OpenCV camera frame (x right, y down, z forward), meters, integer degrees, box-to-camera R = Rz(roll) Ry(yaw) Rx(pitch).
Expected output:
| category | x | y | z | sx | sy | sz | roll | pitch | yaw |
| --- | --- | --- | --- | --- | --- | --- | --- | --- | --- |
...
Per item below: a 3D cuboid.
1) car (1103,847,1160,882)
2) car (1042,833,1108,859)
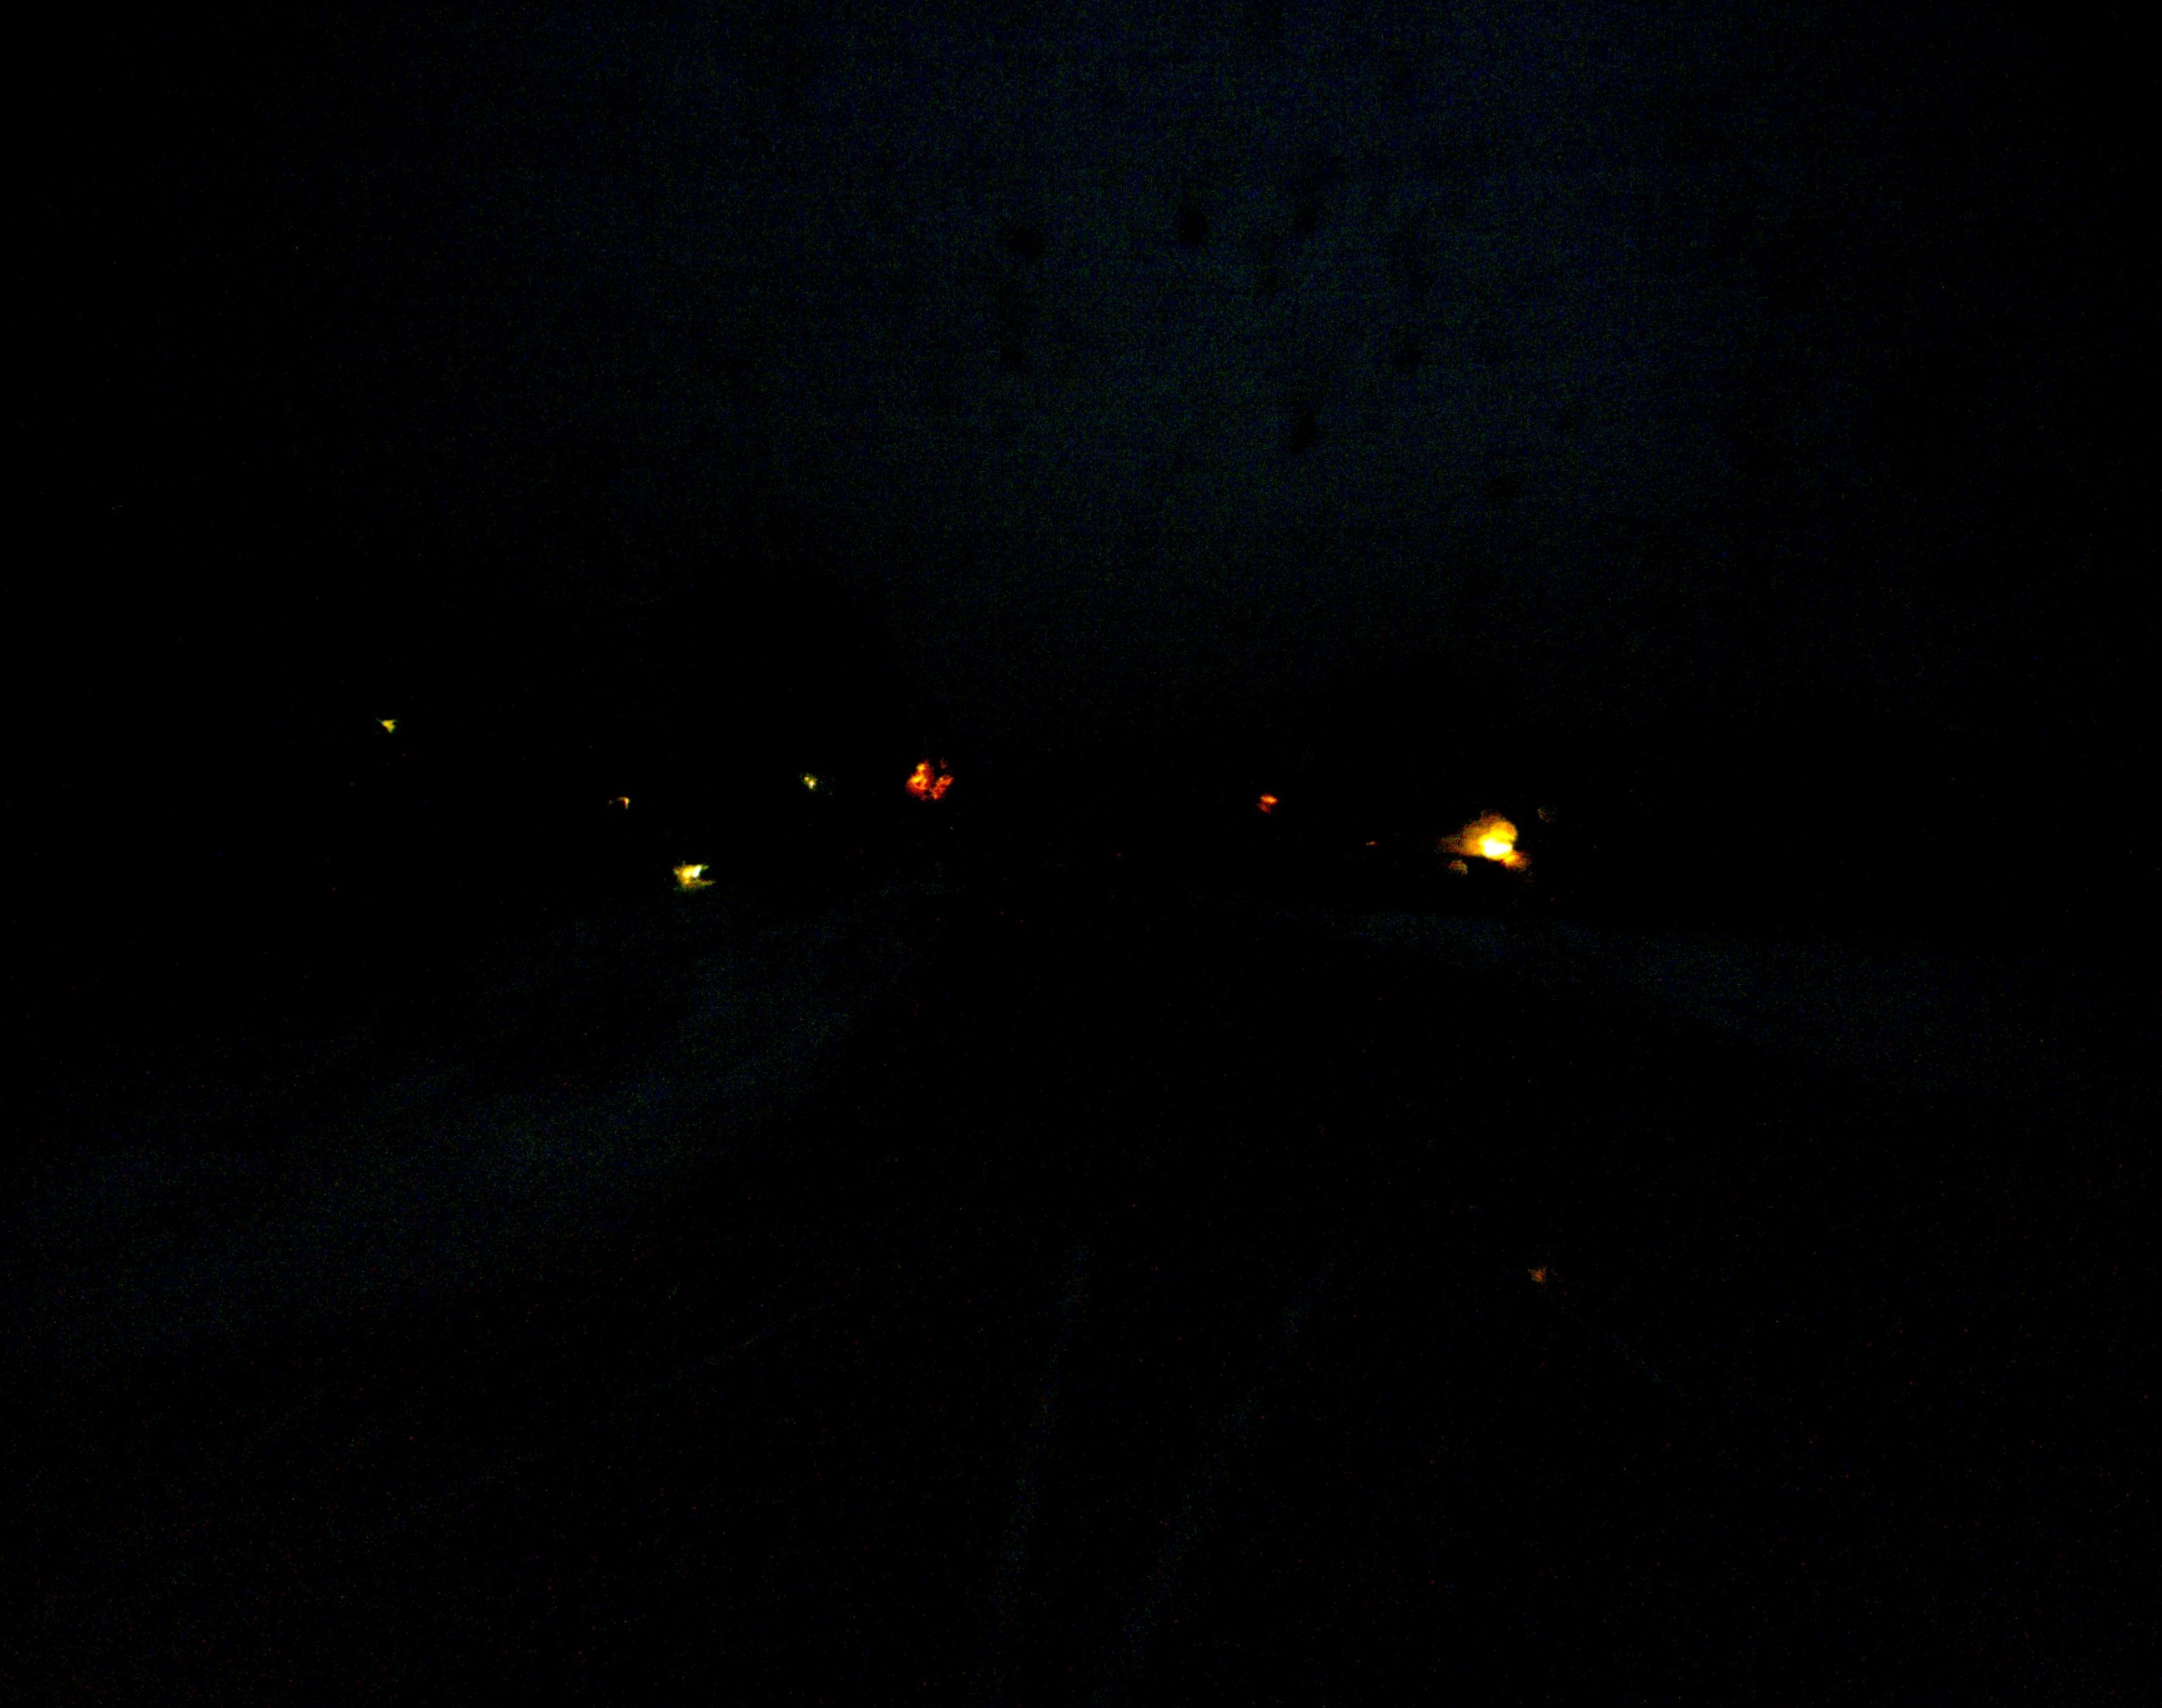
| category | x | y | z | sx | sy | sz | roll | pitch | yaw |
| --- | --- | --- | --- | --- | --- | --- | --- | --- | --- |
| car | 2.342 | 0.459 | 35.976 | 1.725 | 1.525 | 3.512 | 1 | 0 | -13 |
| car | -0.537 | -0.672 | 66.129 | 5.282 | 2.003 | 2.209 | 1 | 4 | -18 |
